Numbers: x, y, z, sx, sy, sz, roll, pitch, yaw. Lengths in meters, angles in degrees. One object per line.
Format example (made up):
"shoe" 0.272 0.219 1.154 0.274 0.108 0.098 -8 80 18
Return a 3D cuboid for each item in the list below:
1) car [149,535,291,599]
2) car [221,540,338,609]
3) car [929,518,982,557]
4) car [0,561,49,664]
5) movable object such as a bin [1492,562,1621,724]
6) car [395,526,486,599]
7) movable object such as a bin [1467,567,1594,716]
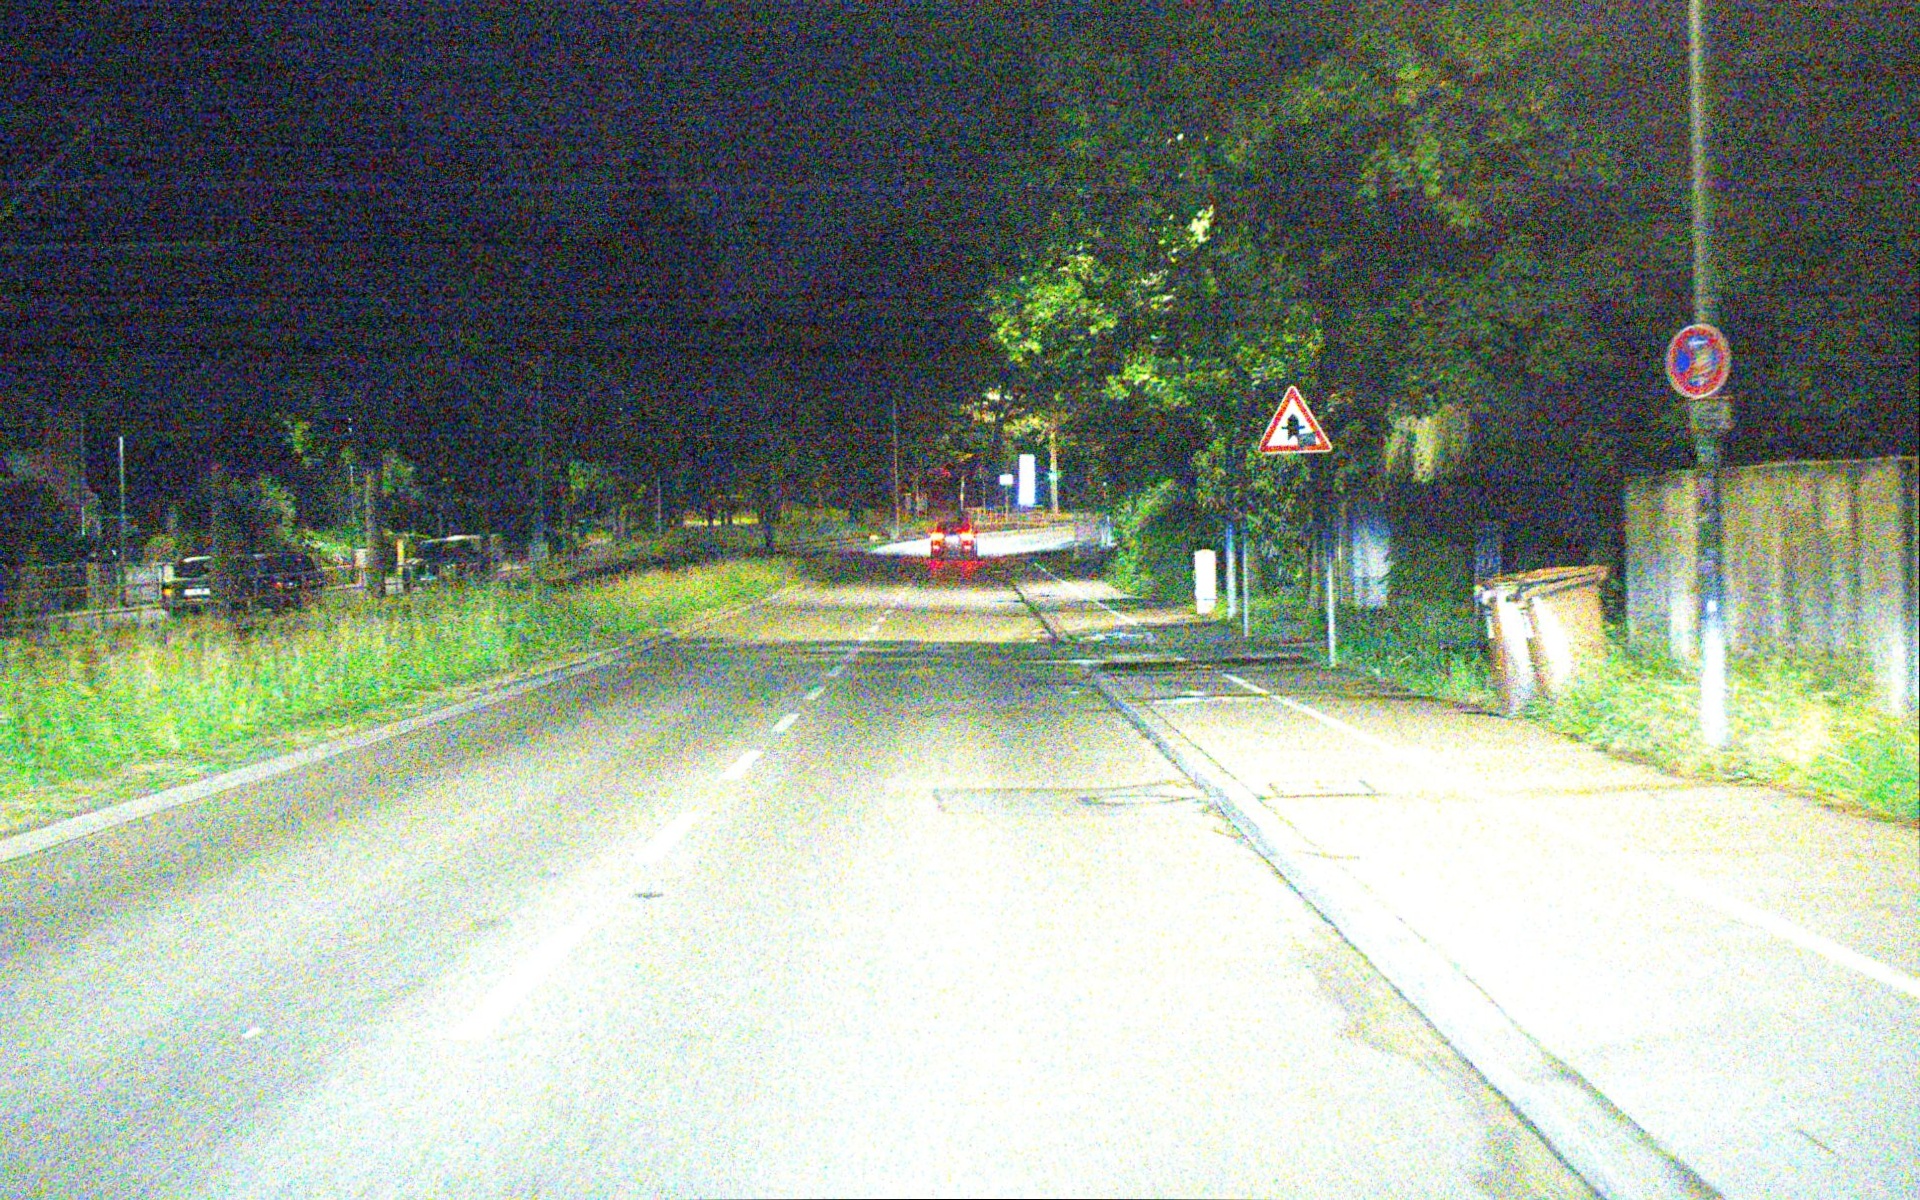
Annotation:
"car" -16.124 -0.731 75.174 1.993 1.333 5.432 -1 1 -1
"car" -16.025 -0.620 81.078 1.993 1.525 4.000 -1 1 -1
"car" -0.198 -2.591 143.409 2.161 1.577 4.013 0 0 0
"car" -16.217 0.206 55.193 1.993 1.622 4.677 -1 1 -1
"movable object such as a bin" 4.438 0.308 25.614 0.833 1.177 0.828 -1 1 2
"car" -15.976 -1.174 105.843 2.091 2.006 4.000 -5 1 -1
"movable object such as a bin" 4.389 0.309 26.490 0.857 1.115 0.840 -1 1 2
